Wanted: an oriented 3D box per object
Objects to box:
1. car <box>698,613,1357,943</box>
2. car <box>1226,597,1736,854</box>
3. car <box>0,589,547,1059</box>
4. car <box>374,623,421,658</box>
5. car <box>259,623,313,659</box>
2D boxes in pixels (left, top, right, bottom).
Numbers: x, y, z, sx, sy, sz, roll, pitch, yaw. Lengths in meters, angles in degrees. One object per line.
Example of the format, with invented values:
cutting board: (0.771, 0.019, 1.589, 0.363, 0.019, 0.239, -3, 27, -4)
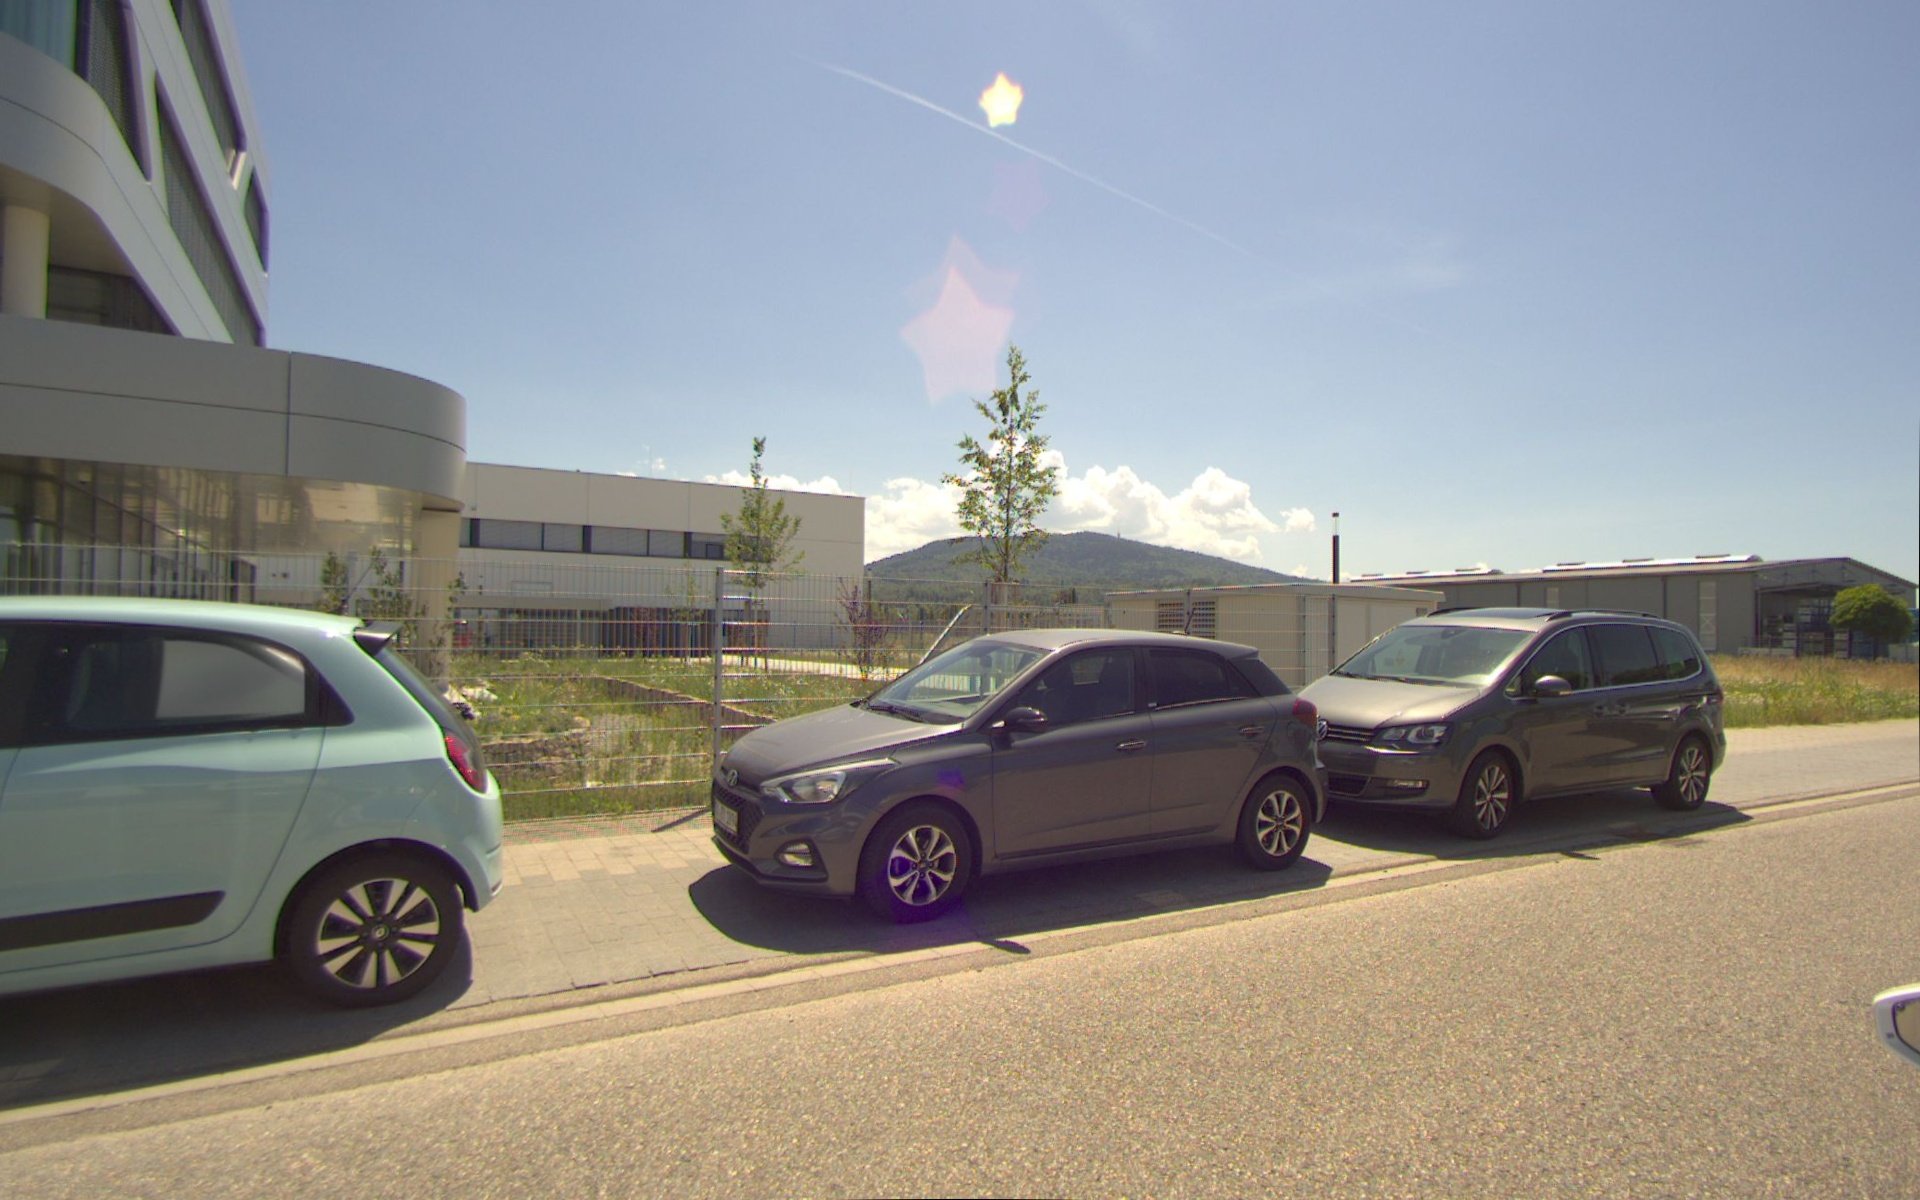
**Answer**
car: (0.513, 0.901, 6.379, 3.924, 1.520, 1.627, 2, -1, -30)
car: (4.646, 0.920, 8.774, 4.568, 1.742, 1.794, 2, -1, -30)
car: (-3.699, 0.738, 3.959, 3.616, 1.556, 1.626, 2, -1, -31)
car: (-27.035, 1.955, 48.308, 1.899, 1.606, 3.969, 2, -2, -29)
car: (-31.487, 1.914, 46.872, 1.904, 1.606, 3.959, 2, -3, -36)
